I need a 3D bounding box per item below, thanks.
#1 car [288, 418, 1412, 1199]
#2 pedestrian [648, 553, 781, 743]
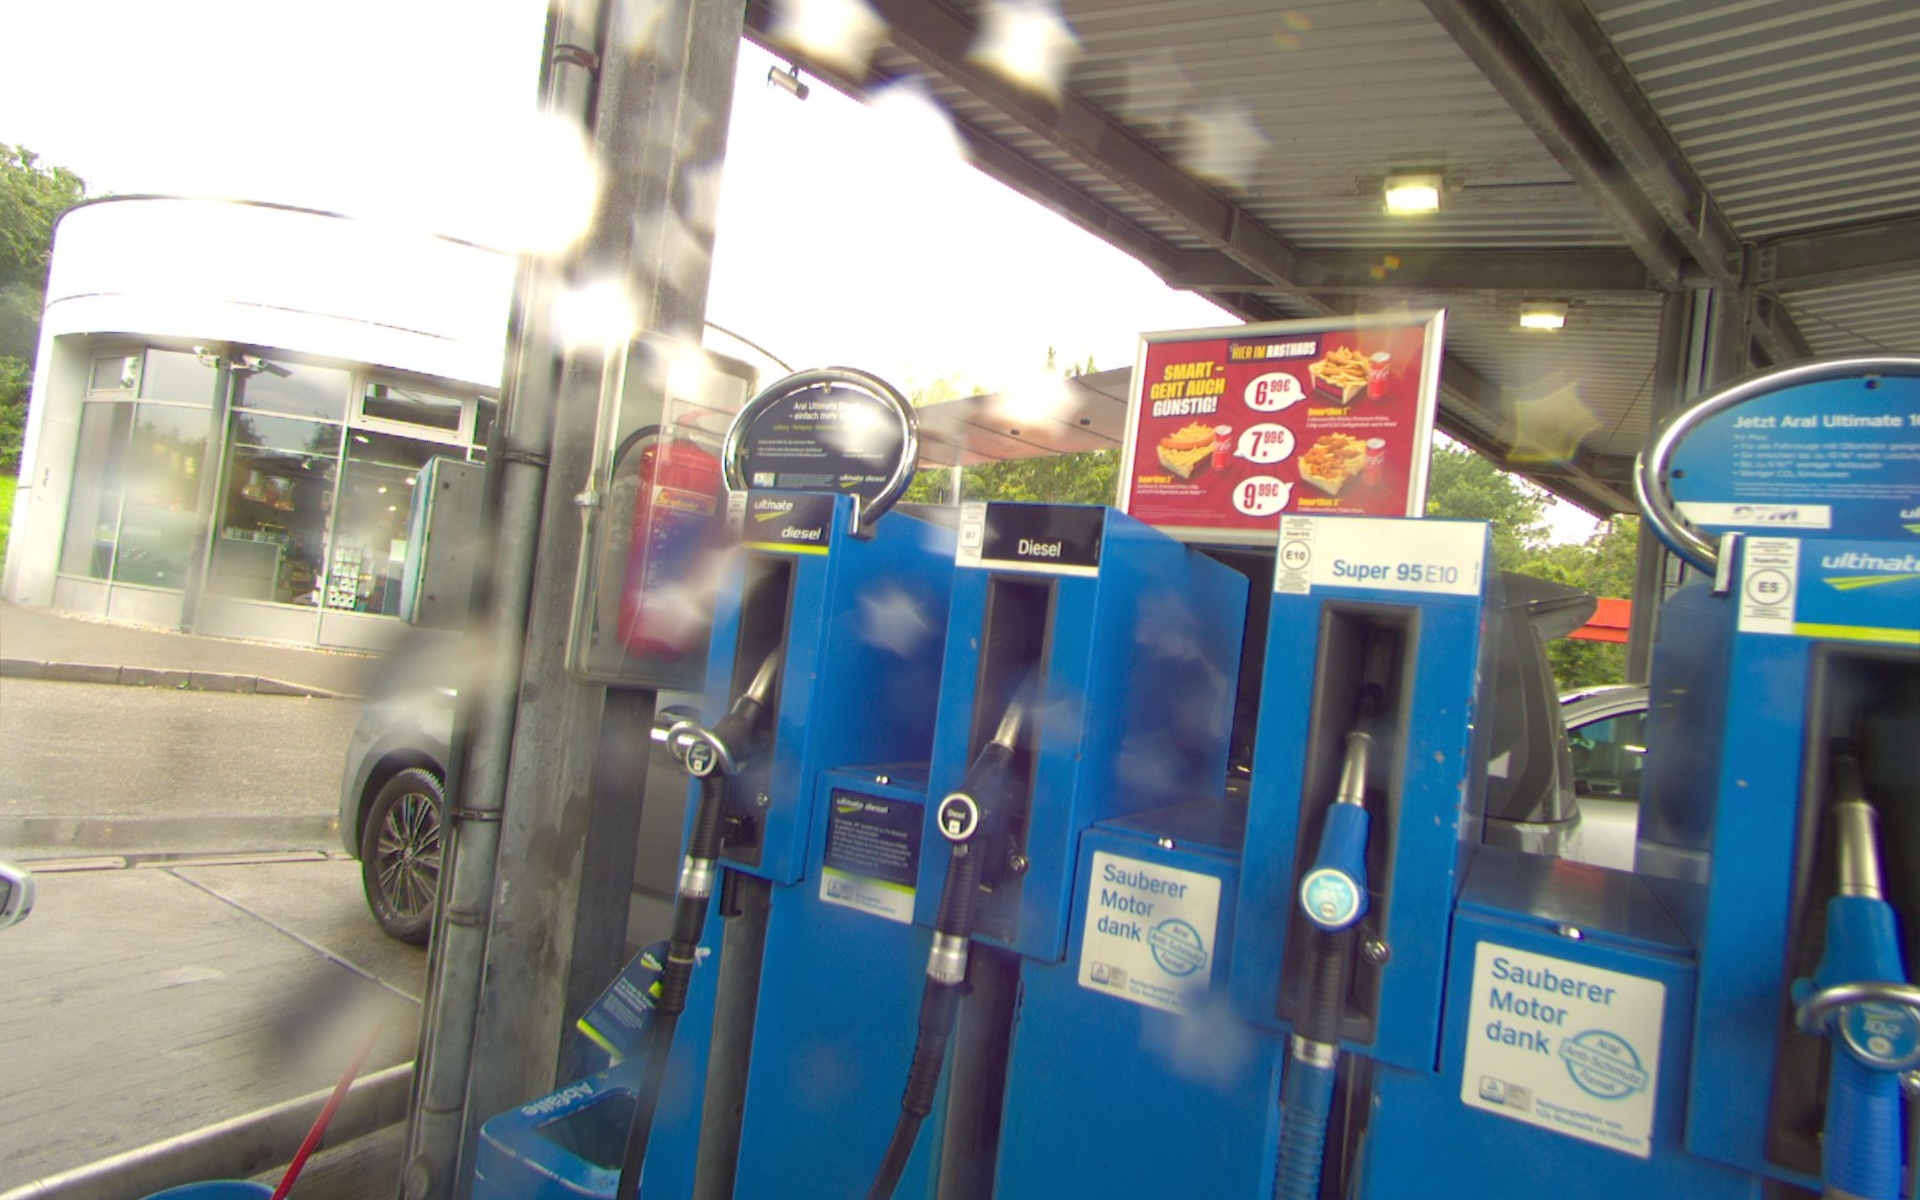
[{"bbox_3d":[-0.577,0.501,3.970,3.934,1.971,1.819,7,-1,32],"label":"car"},{"bbox_3d":[-2.686,0.519,11.015,0.991,1.917,0.716,7,0,34],"label":"pedestrian"}]
